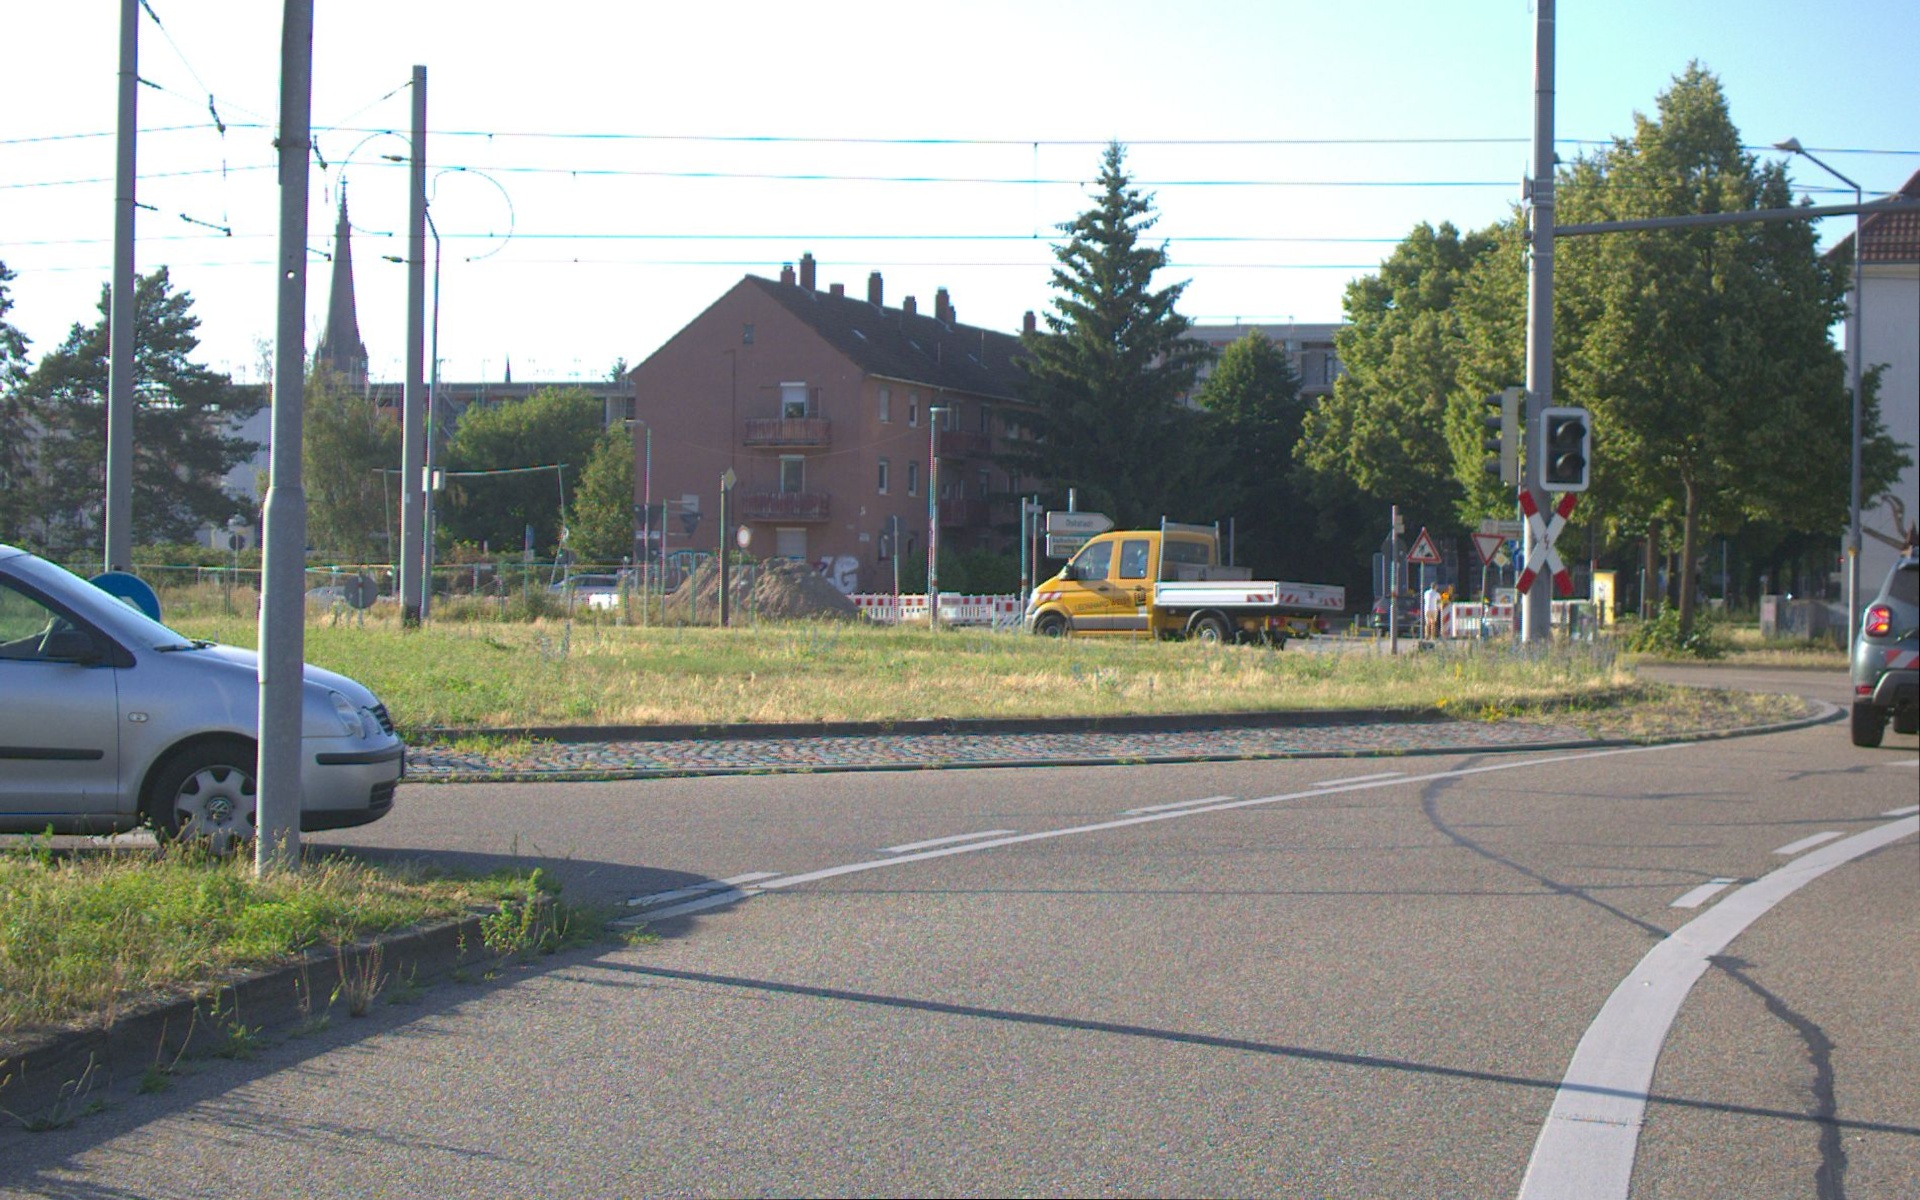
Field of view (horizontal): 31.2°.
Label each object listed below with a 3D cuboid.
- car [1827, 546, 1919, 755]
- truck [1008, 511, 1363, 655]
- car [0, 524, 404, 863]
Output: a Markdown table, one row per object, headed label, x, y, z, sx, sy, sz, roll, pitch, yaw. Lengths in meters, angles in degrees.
| label | x | y | z | sx | sy | sz | roll | pitch | yaw |
| --- | --- | --- | --- | --- | --- | --- | --- | --- | --- |
| car | 8.566 | 0.426 | 29.058 | 1.907 | 1.654 | 3.995 | 1 | 0 | 21 |
| truck | 4.129 | -0.350 | 63.818 | 6.246 | 2.549 | 2.582 | 1 | 0 | 41 |
| car | -4.438 | 0.380 | 15.453 | 3.746 | 1.429 | 1.836 | 1 | 0 | -7 |
